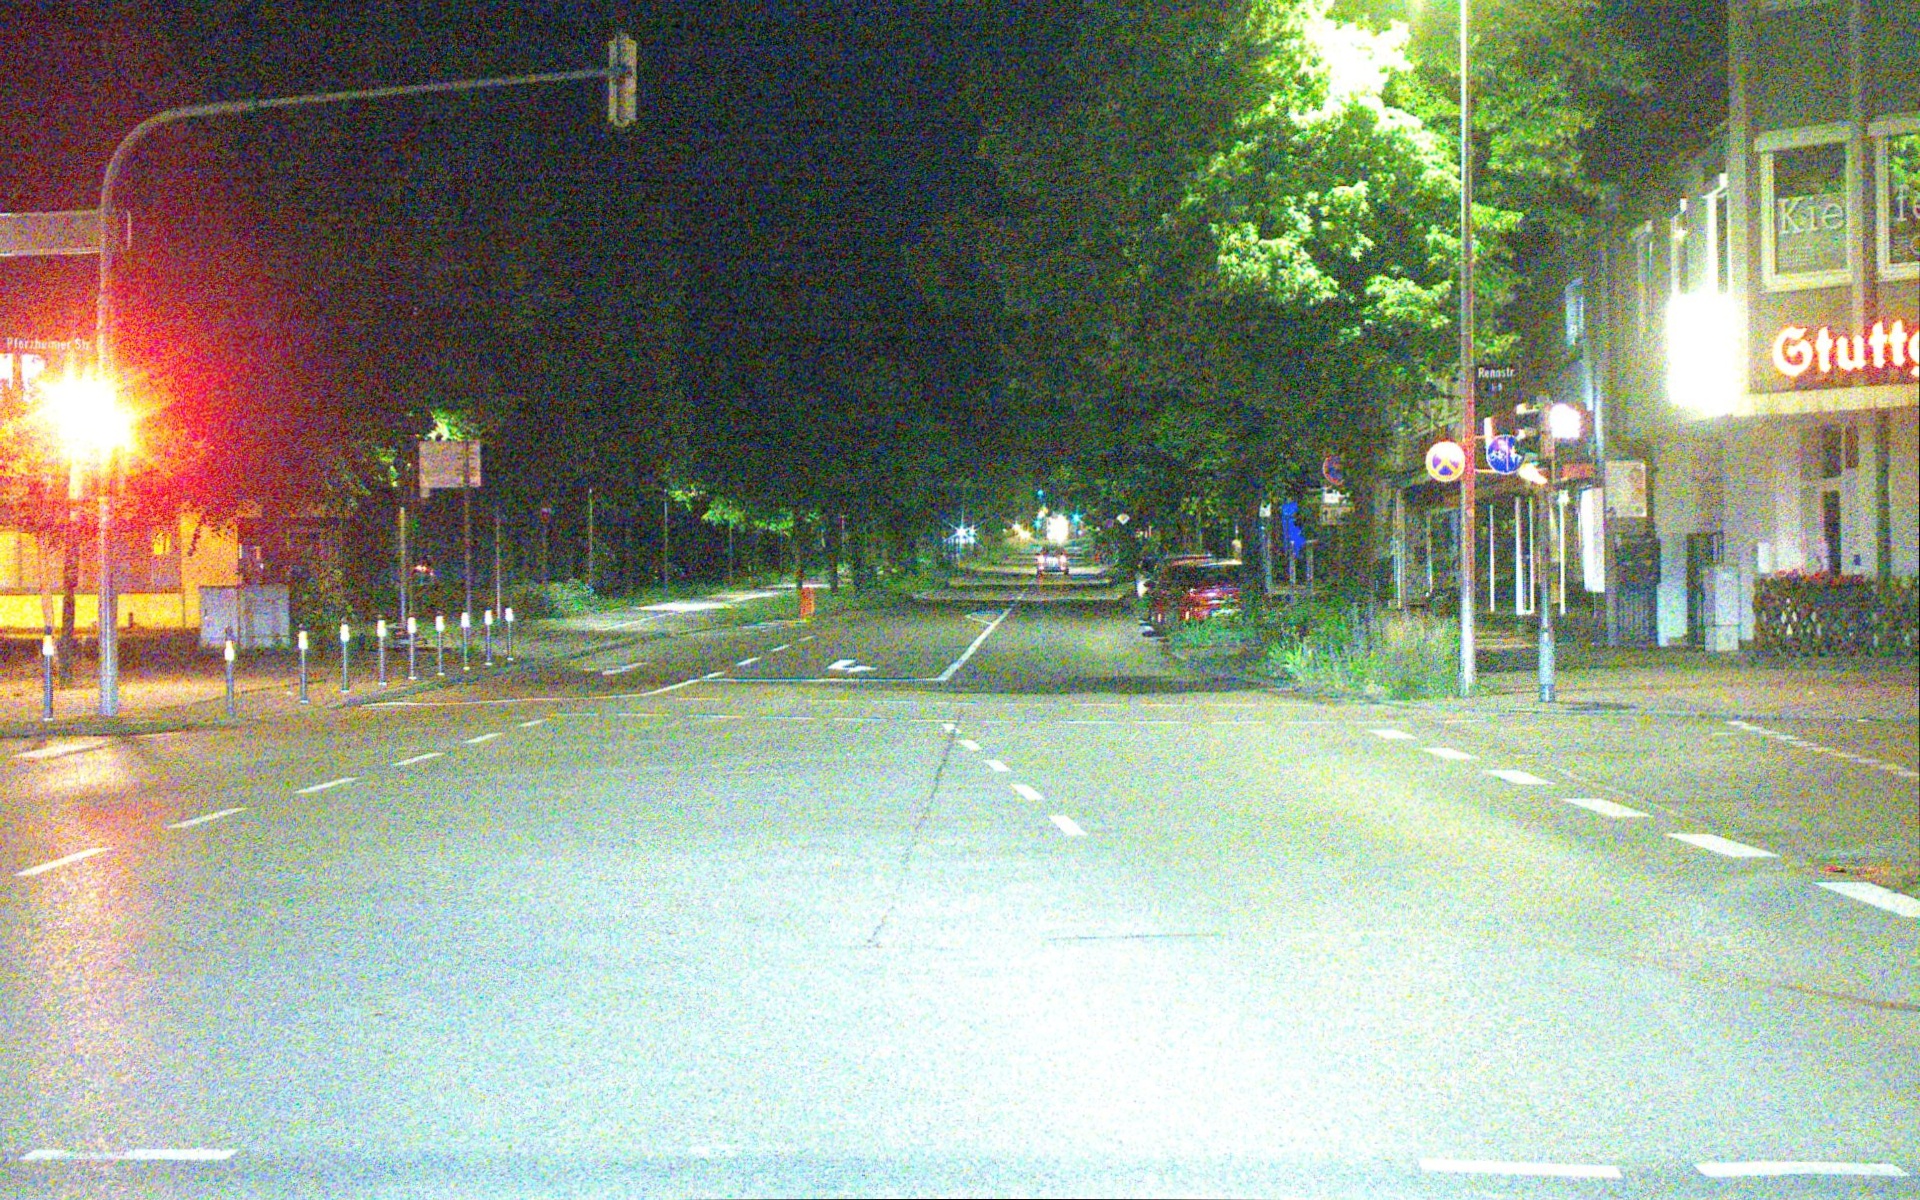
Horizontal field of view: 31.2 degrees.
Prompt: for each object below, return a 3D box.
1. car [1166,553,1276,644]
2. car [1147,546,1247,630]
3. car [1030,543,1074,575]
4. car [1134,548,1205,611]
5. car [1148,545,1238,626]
[{"bbox_3d":[4.797,-0.047,63.640,1.876,1.610,4.000,0,1,2],"label":"car"},{"bbox_3d":[4.706,-0.255,68.795,1.876,1.610,4.000,0,1,2],"label":"car"},{"bbox_3d":[4.810,-2.131,179.898,2.227,1.645,4.000,0,1,0],"label":"car"},{"bbox_3d":[5.738,-0.585,94.540,1.876,1.678,4.000,0,1,2],"label":"car"},{"bbox_3d":[5.166,-0.335,76.466,1.876,1.723,4.000,0,1,2],"label":"car"}]
